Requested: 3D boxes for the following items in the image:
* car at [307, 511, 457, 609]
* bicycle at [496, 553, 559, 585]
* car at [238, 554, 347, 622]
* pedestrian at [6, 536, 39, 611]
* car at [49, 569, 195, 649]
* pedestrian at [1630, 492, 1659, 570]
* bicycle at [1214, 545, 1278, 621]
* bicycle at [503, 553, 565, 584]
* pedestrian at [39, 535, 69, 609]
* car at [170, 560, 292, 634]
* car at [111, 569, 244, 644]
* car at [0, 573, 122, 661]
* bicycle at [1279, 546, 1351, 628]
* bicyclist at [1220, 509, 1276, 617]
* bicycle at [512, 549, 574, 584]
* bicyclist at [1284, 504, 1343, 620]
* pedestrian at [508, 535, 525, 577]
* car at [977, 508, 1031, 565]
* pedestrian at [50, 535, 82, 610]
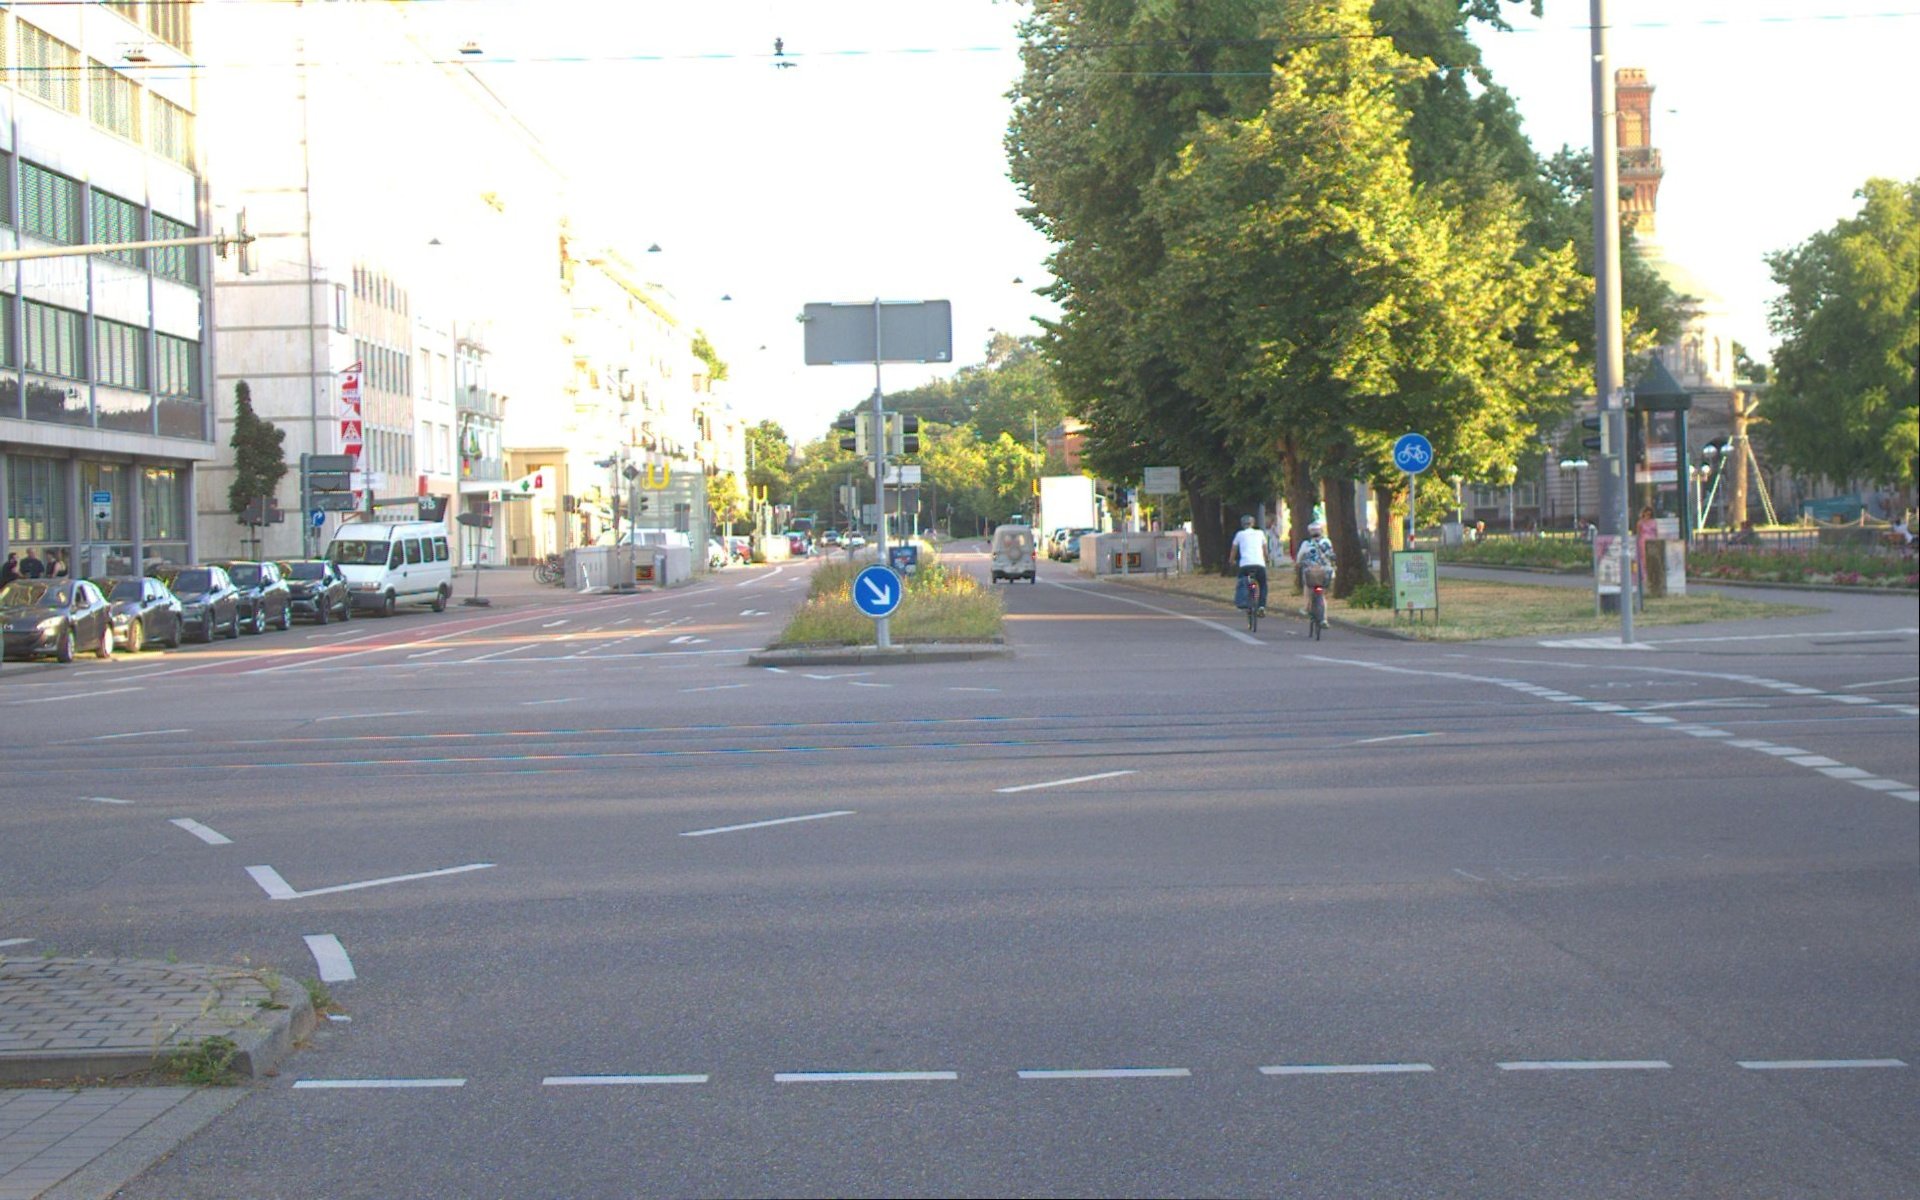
[{"bbox_3d":[-15.275,-1.108,91.203,2.002,2.469,5.865,-1,1,10],"label":"car"},{"bbox_3d":[-15.769,-1.140,125.487,2.205,1.108,0.619,-2,1,-2],"label":"bicycle"},{"bbox_3d":[-16.425,-0.319,84.771,1.920,1.563,4.000,-1,1,-1],"label":"car"},{"bbox_3d":[-21.330,-0.608,78.223,0.551,1.673,0.500,-1,1,-1],"label":"pedestrian"},{"bbox_3d":[-16.633,0.158,68.428,1.920,1.459,4.000,-1,1,-1],"label":"car"},{"bbox_3d":[14.574,-1.464,73.201,0.460,1.651,0.567,-1,1,-1],"label":"pedestrian"},{"bbox_3d":[4.510,-0.286,54.326,0.746,1.140,2.505,-1,1,-1],"label":"bicycle"},{"bbox_3d":[-15.722,-1.165,126.968,2.205,1.108,0.689,-2,1,-2],"label":"bicycle"},{"bbox_3d":[-20.687,-0.645,78.523,0.500,1.673,0.500,-1,1,-1],"label":"pedestrian"},{"bbox_3d":[-16.621,-0.089,78.544,1.920,1.563,4.000,-1,1,-1],"label":"car"},{"bbox_3d":[-16.640,0.112,73.243,1.920,1.459,4.000,-1,1,-1],"label":"car"},{"bbox_3d":[-16.540,0.286,61.880,1.920,1.459,4.103,-1,1,-1],"label":"car"},{"bbox_3d":[5.220,-0.208,50.709,0.746,1.140,2.505,-1,1,-1],"label":"bicycle"},{"bbox_3d":[4.497,-0.581,53.670,0.746,1.658,0.873,-1,1,-1],"label":"bicyclist"},{"bbox_3d":[-15.643,-1.264,128.885,2.205,1.232,0.839,-2,1,-2],"label":"bicycle"},{"bbox_3d":[5.208,-0.565,50.709,0.746,1.685,0.799,-1,1,-1],"label":"bicyclist"},{"bbox_3d":[-21.258,-2.119,164.940,0.680,2.007,0.545,-2,1,0],"label":"pedestrian"},{"bbox_3d":[1.306,-1.923,103.907,1.408,1.636,4.000,-2,1,-2],"label":"car"},{"bbox_3d":[-20.256,-0.621,77.869,0.551,1.673,0.500,-1,1,-1],"label":"pedestrian"}]
